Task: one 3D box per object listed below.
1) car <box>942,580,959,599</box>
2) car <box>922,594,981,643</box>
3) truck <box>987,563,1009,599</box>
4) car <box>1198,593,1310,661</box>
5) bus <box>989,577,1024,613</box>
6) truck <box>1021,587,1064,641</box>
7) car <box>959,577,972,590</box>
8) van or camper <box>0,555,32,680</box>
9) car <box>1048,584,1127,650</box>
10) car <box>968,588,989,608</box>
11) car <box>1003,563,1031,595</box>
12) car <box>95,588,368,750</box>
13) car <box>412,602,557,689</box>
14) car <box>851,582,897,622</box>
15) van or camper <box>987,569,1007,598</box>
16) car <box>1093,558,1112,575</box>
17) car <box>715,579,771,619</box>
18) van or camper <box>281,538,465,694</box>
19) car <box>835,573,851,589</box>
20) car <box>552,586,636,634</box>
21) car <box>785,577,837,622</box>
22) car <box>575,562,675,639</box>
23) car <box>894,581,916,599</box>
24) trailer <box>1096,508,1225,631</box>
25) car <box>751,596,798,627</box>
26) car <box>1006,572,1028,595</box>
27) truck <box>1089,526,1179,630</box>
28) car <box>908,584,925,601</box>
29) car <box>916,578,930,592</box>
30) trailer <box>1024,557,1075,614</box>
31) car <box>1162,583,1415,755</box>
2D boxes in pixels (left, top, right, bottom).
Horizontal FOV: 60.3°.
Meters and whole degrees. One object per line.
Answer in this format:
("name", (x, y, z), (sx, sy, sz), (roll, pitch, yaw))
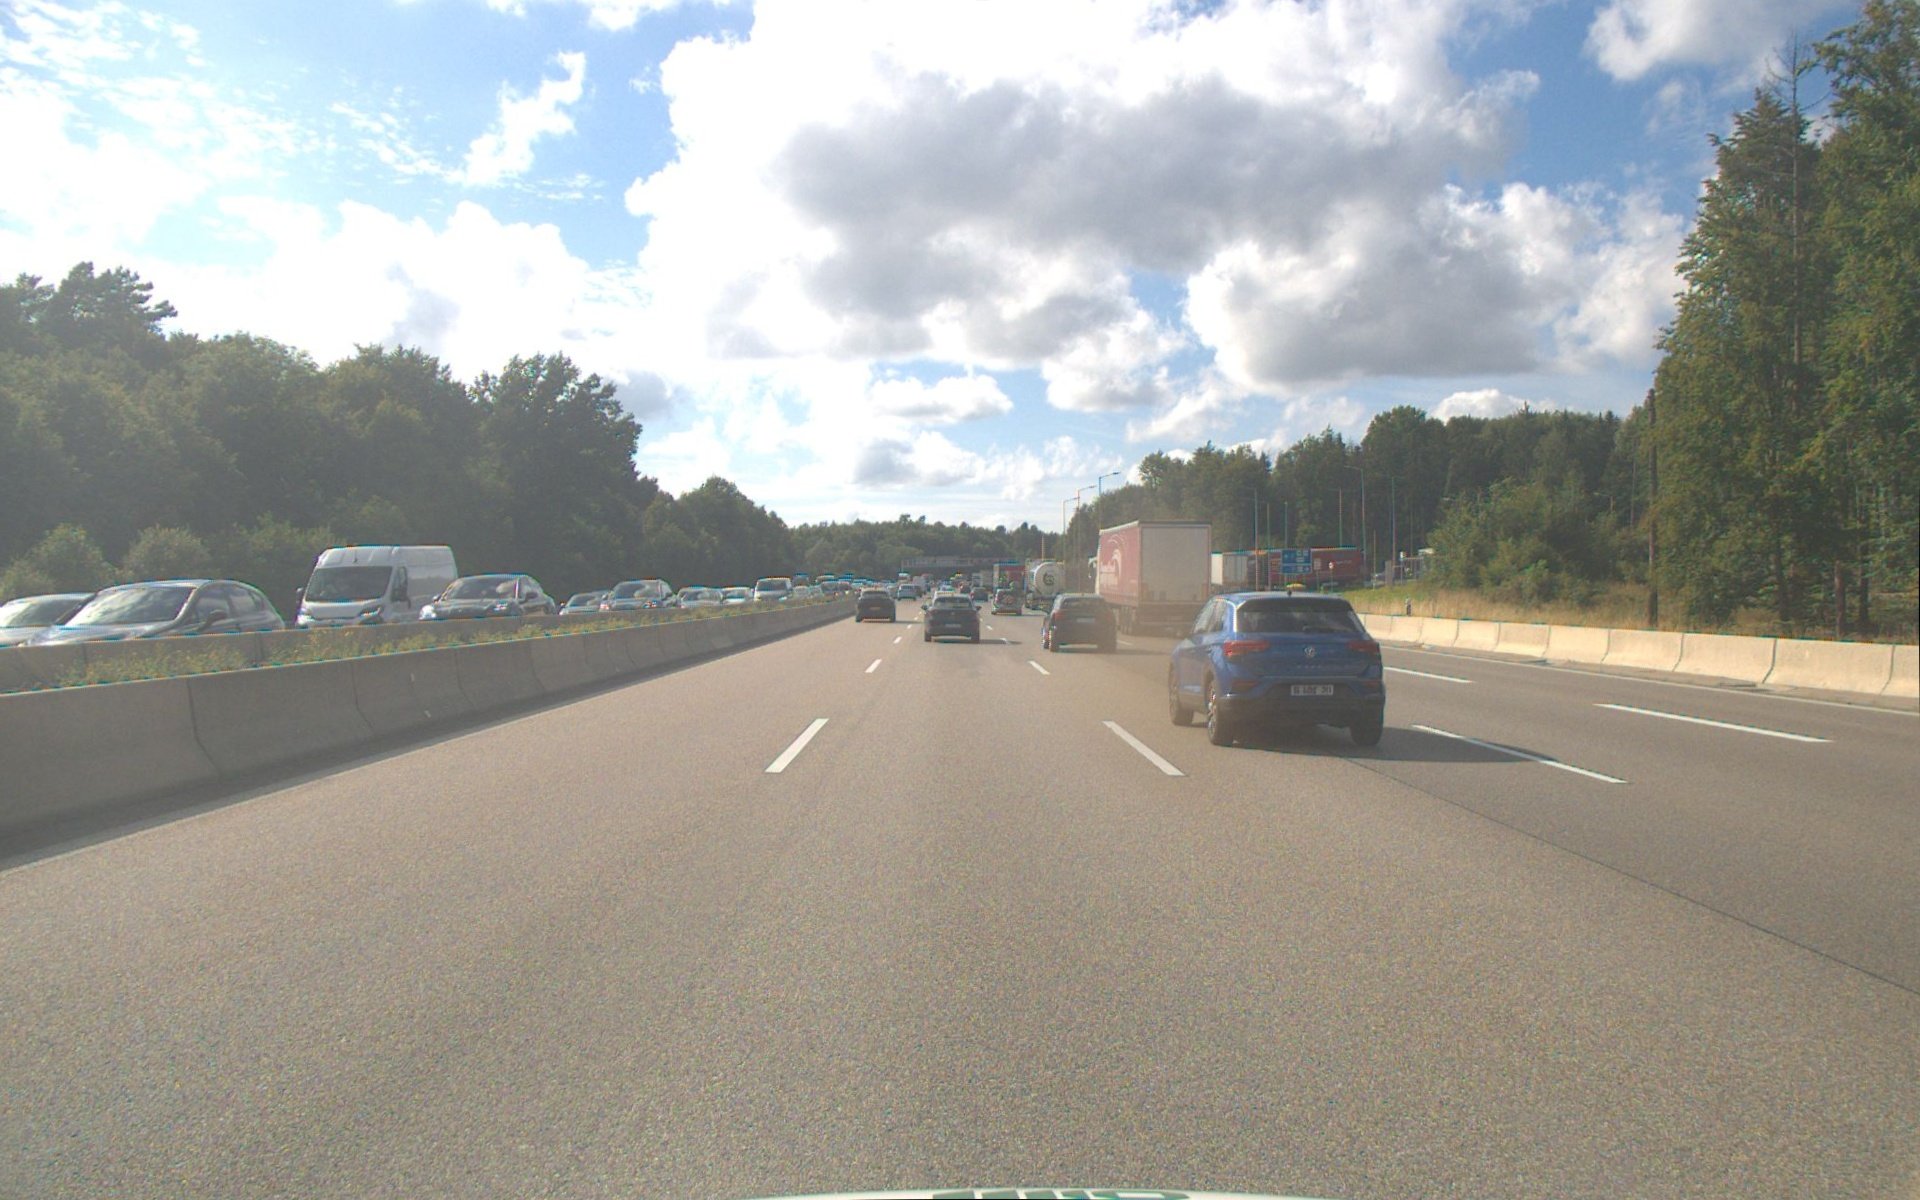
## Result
("car", (-1.119, -1.205, 189.215), (1.953, 2.049, 3.999), (-1, -1, -1))
("car", (-0.309, 0.560, 51.628), (1.699, 1.389, 3.998), (1, 1, -2))
("truck", (4.348, -2.116, 189.086), (2.309, 3.635, 11.266), (1, -1, 1))
("car", (6.948, 0.627, 39.480), (1.681, 1.538, 4.299), (0, 0, -3))
("bus", (2.830, -0.289, 101.022), (1.953, 2.049, 3.999), (1, -1, 0))
("truck", (6.587, 1.113, 132.464), (2.983, 4.233, 7.125), (0, -1, -1))
("car", (0.893, -2.584, 259.034), (1.953, 2.049, 3.999), (1, 0, -1))
("van or camper", (-25.202, 0.421, 39.208), (2.520, 3.131, 7.193), (0, 0, -2))
("car", (3.363, 0.450, 44.283), (1.762, 1.673, 3.999), (1, -1, 0))
("car", (1.877, -0.183, 169.602), (1.953, 2.049, 3.999), (1, -1, -1))
("car", (5.918, -2.151, 171.792), (2.807, 3.044, 5.149), (1, -1, 0))
("car", (-9.181, 0.839, 21.254), (1.652, 1.848, 4.294), (1, -1, -2))
("car", (-9.695, 0.880, 34.062), (1.799, 1.619, 4.288), (1, 0, -2))
("car", (-4.087, 0.082, 79.334), (1.953, 1.807, 4.000), (1, 0, 0))
("van or camper", (4.393, -1.956, 195.997), (2.303, 3.199, 5.710), (1, -1, 1))
("car", (18.299, -4.310, 212.282), (1.953, 2.049, 3.999), (-1, 0, -1))
("car", (-9.983, -0.047, 76.397), (1.953, 1.766, 5.090), (1, 0, -1))
("van or camper", (-13.283, 0.326, 37.939), (2.095, 3.228, 6.242), (1, 0, -2))
("car", (-16.000, -2.596, 225.970), (1.953, 2.049, 3.999), (-1, 0, -1))
("car", (-13.171, 0.391, 59.772), (1.952, 1.624, 4.524), (1, -1, 0))
("car", (-6.781, -0.049, 75.555), (1.952, 1.954, 4.000), (1, 1, 0))
("car", (-9.458, -0.003, 47.086), (1.844, 2.049, 4.519), (1, 0, 0))
("car", (-5.669, -1.021, 171.949), (2.110, 1.807, 3.999), (1, -1, 0))
("trailer", (7.337, -0.893, 62.732), (2.976, 4.106, 13.886), (1, -1, -1))
("car", (-9.946, 0.606, 89.132), (1.952, 1.600, 4.816), (1, 1, 0))
("car", (5.540, -1.570, 161.370), (1.953, 2.049, 3.999), (1, -1, -1))
("truck", (7.243, -0.821, 69.476), (3.017, 4.135, 6.068), (1, -1, -1))
("car", (-5.293, -0.899, 200.739), (1.953, 2.049, 3.999), (1, 0, -1))
("car", (-5.294, -2.163, 239.538), (1.953, 2.049, 3.999), (-1, 0, -1))
("trailer", (6.724, -0.990, 126.222), (2.974, 4.086, 12.241), (0, -1, -1))
("car", (3.475, 0.648, 18.389), (1.884, 1.568, 4.646), (2, 1, 0))
